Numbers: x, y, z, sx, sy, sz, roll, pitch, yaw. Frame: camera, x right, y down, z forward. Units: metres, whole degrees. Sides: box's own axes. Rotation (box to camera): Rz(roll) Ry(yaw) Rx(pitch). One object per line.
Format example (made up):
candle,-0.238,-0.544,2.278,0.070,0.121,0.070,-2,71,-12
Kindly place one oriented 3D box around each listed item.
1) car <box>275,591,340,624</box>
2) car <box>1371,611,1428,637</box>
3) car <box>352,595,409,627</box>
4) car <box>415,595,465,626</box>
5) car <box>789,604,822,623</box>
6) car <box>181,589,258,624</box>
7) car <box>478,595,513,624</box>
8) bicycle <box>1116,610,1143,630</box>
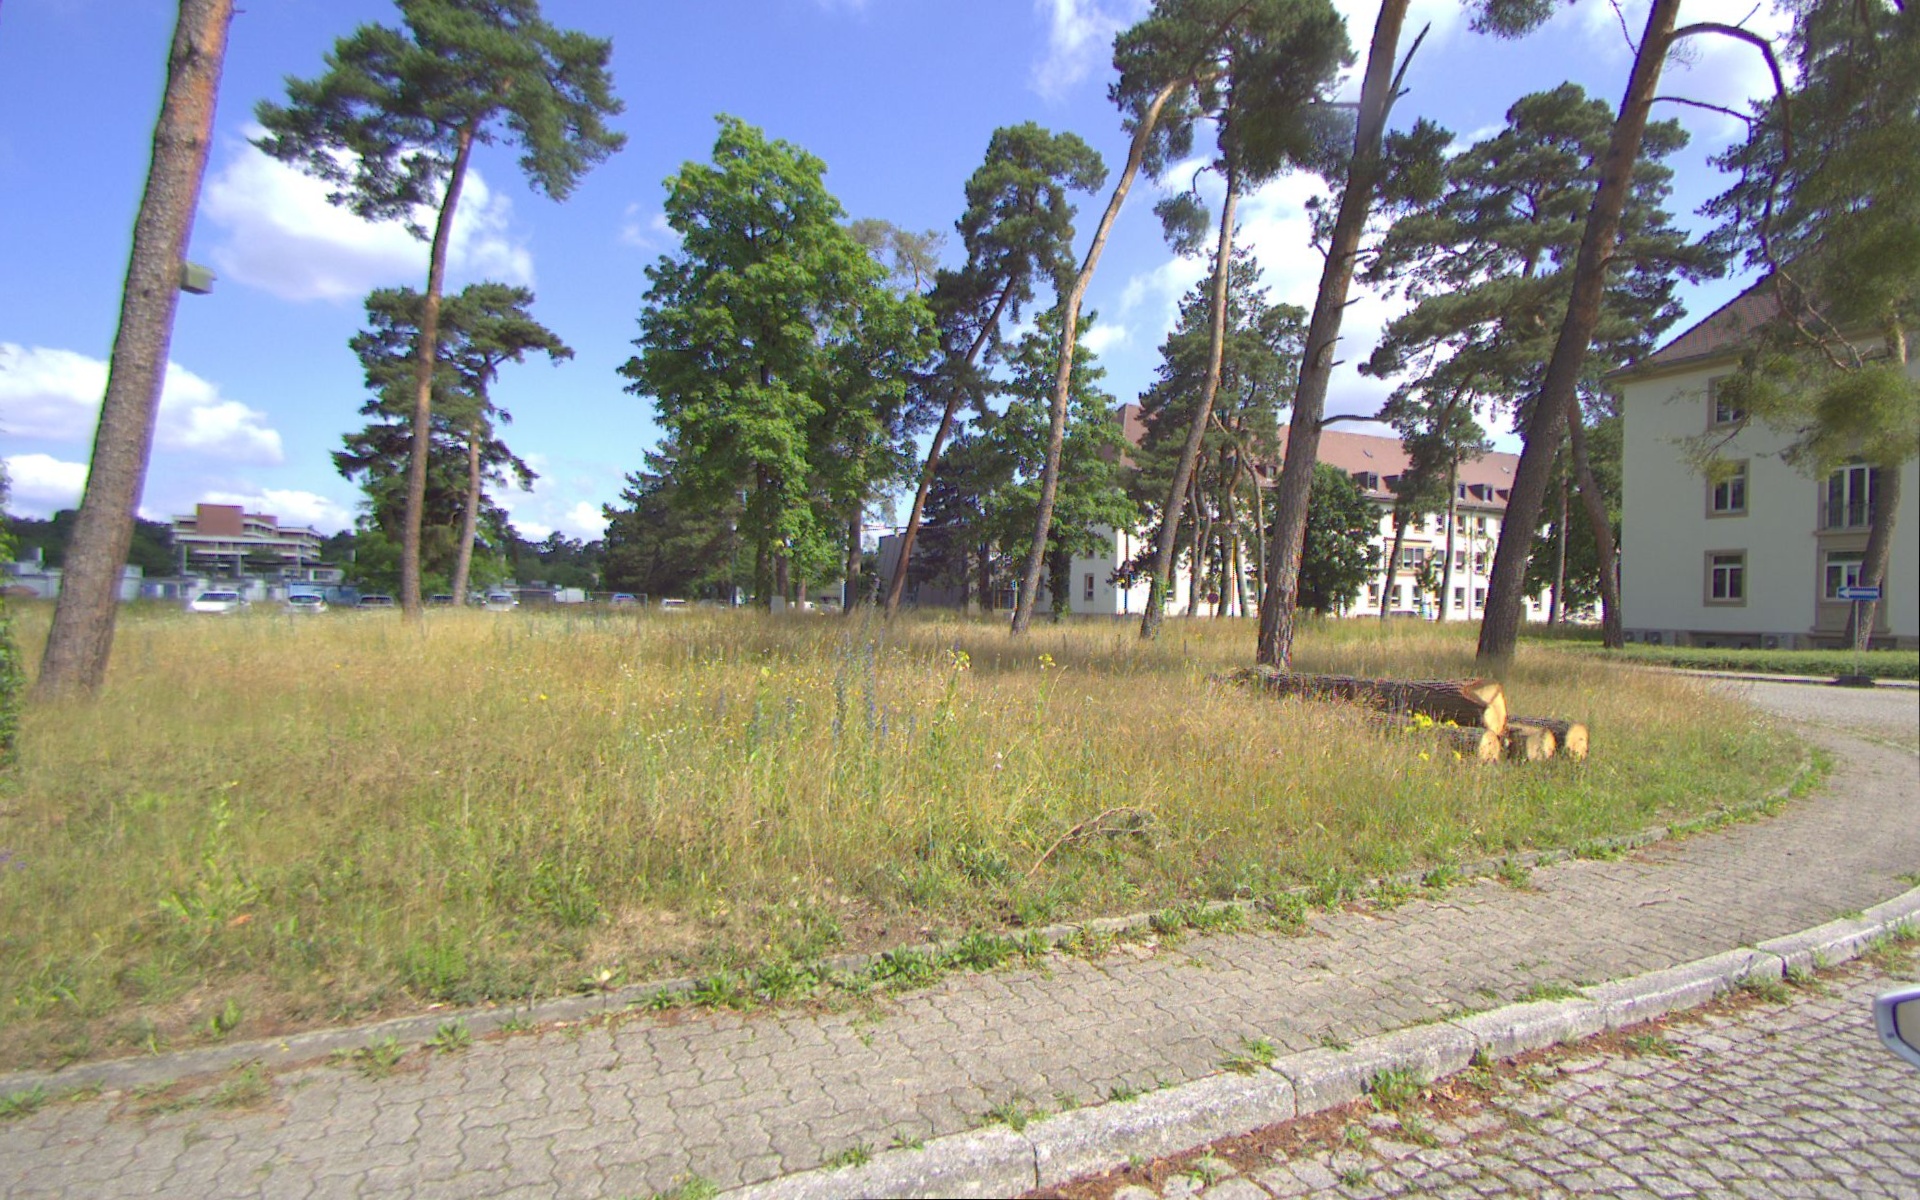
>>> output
car,-28.341,0.339,43.758,1.876,1.356,4.052,1,-1,-26
car,34.966,1.882,79.974,1.689,2.018,4.048,1,-1,-24
car,-25.612,0.499,44.481,1.876,1.337,4.052,1,-1,-26
car,-23.448,0.479,45.396,1.876,1.326,4.052,1,-1,-26
car,-17.969,1.584,116.935,3.631,2.116,1.724,1,-1,-16
car,-31.002,0.292,42.163,1.876,1.367,4.044,1,-1,-26
car,-29.335,0.589,63.385,1.876,1.724,4.052,1,-1,-26
bicycle,10.078,1.188,59.734,1.559,1.115,0.490,1,0,-14
